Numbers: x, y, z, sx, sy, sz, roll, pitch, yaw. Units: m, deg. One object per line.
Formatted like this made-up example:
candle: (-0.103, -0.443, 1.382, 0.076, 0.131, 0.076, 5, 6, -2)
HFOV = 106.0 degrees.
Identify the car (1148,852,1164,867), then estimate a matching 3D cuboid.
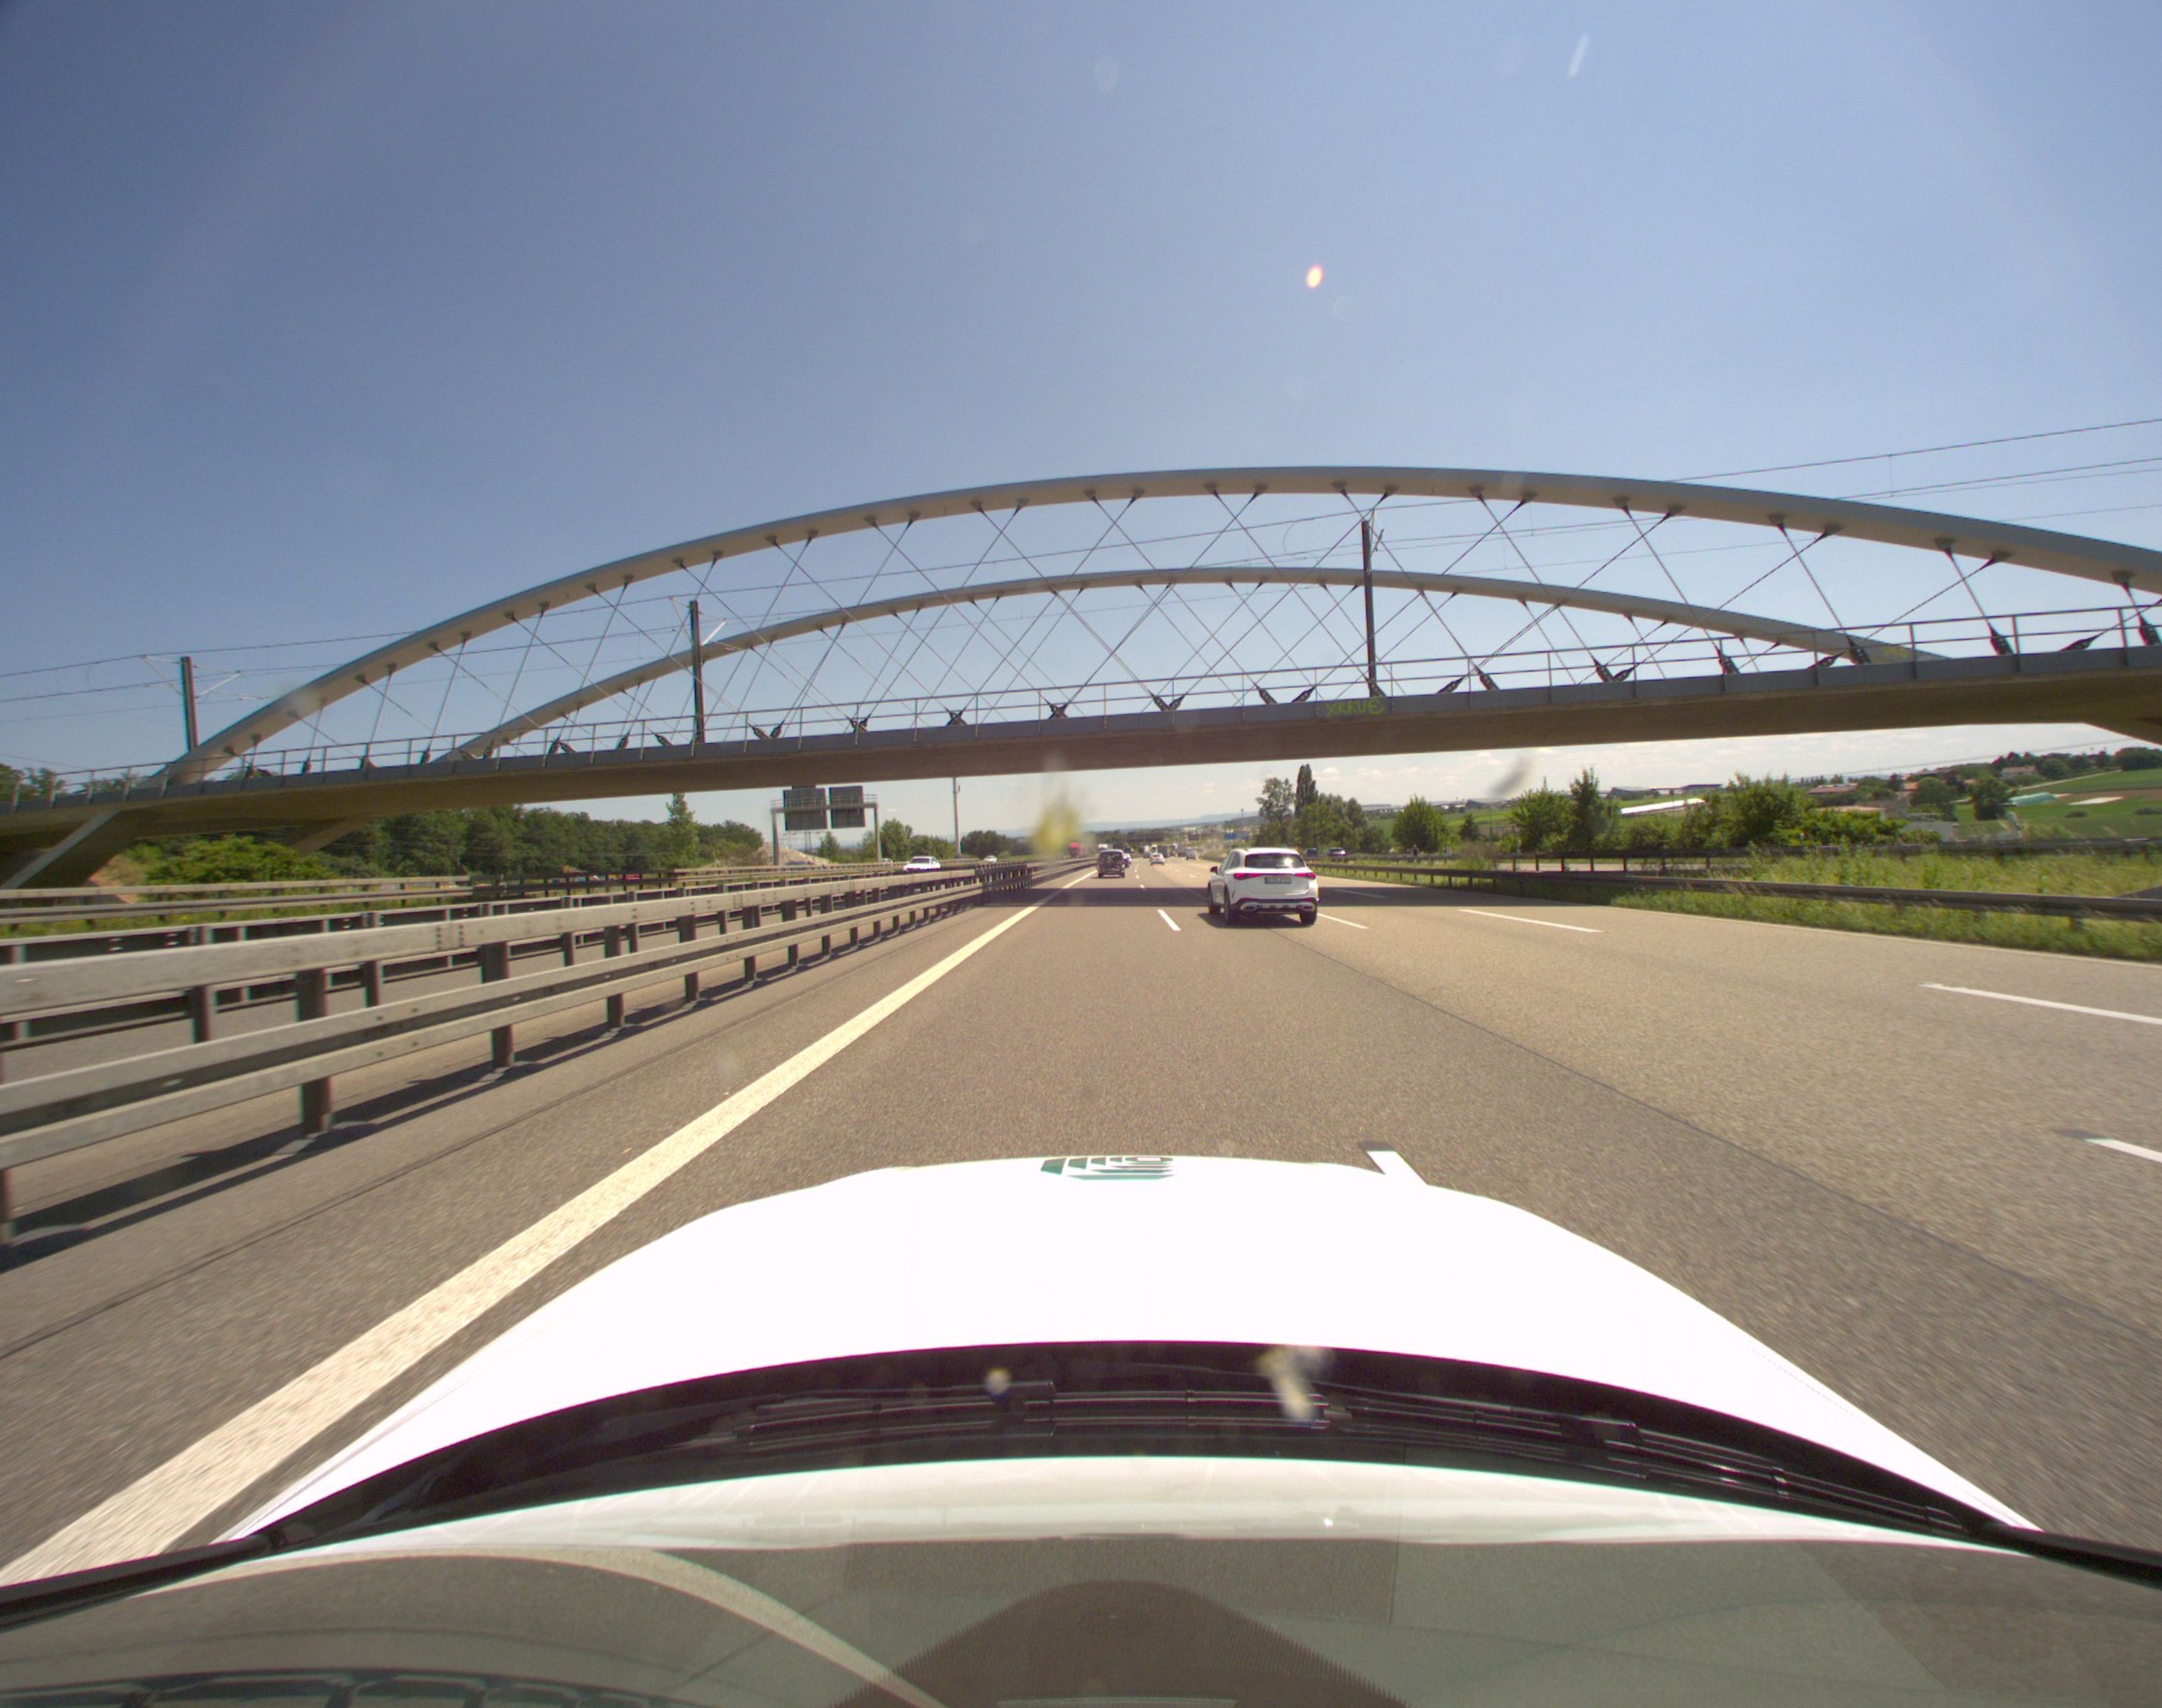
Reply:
car: (9.604, 0.704, 104.730, 1.919, 1.919, 4.521, -1, 0, 3)

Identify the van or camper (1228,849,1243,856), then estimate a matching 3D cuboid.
van or camper: (40.832, -0.366, 215.232, 2.528, 2.014, 4.447, 0, 0, -9)

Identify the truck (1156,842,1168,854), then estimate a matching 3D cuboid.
truck: (21.621, -1.633, 217.078, 2.691, 3.108, 10.669, -1, 0, 4)

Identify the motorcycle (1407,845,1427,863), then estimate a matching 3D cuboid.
motorcycle: (25.141, 0.000, 60.967, 0.757, 1.366, 1.869, 0, 0, 1)

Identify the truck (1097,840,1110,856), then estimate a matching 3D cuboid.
truck: (6.333, -1.733, 229.717, 2.912, 4.344, 6.929, -1, 0, 7)

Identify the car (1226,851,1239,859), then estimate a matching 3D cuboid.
car: (36.363, 0.294, 195.647, 1.990, 2.014, 3.993, 0, 0, -5)

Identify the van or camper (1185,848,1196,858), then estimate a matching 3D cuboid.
van or camper: (23.358, -0.166, 173.944, 2.144, 2.014, 4.312, -1, 0, 7)

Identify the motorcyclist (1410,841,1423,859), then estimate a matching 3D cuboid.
motorcyclist: (25.135, -0.287, 61.014, 0.666, 1.366, 0.879, 0, 0, 1)

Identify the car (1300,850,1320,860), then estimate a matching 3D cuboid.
car: (31.491, 0.157, 111.961, 1.694, 1.277, 4.000, 0, 0, 1)

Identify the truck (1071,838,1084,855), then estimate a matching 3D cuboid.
truck: (-0.890, -1.947, 207.260, 2.570, 4.115, 10.360, -1, 0, 4)

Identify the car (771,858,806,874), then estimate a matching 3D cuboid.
car: (-31.668, 1.286, 88.337, 1.985, 1.618, 4.327, -1, 0, 4)

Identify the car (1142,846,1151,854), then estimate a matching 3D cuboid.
car: (17.494, -1.012, 217.311, 2.176, 2.003, 4.005, -1, 0, 5)

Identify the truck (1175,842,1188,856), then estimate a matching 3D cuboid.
truck: (32.679, -1.672, 264.923, 4.018, 4.261, 11.782, -1, 2, 7)

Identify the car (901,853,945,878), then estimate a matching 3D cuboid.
car: (-11.243, 0.784, 58.234, 1.920, 1.639, 4.980, -1, 0, 3)

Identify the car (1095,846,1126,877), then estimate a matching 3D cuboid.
car: (1.996, 0.458, 53.718, 1.918, 1.919, 4.952, -1, 0, 3)

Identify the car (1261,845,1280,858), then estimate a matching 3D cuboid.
car: (28.969, -0.379, 124.551, 1.932, 1.923, 4.179, 0, 0, 1)

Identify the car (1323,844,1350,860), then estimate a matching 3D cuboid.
car: (25.770, -0.175, 82.283, 1.691, 1.575, 4.134, -1, 0, 5)

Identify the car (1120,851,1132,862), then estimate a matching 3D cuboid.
car: (6.355, 0.339, 114.763, 1.568, 1.552, 3.970, -1, 0, 6)

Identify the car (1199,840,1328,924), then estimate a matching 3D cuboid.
car: (4.001, 0.571, 18.719, 1.892, 1.647, 4.999, 0, 0, 1)
